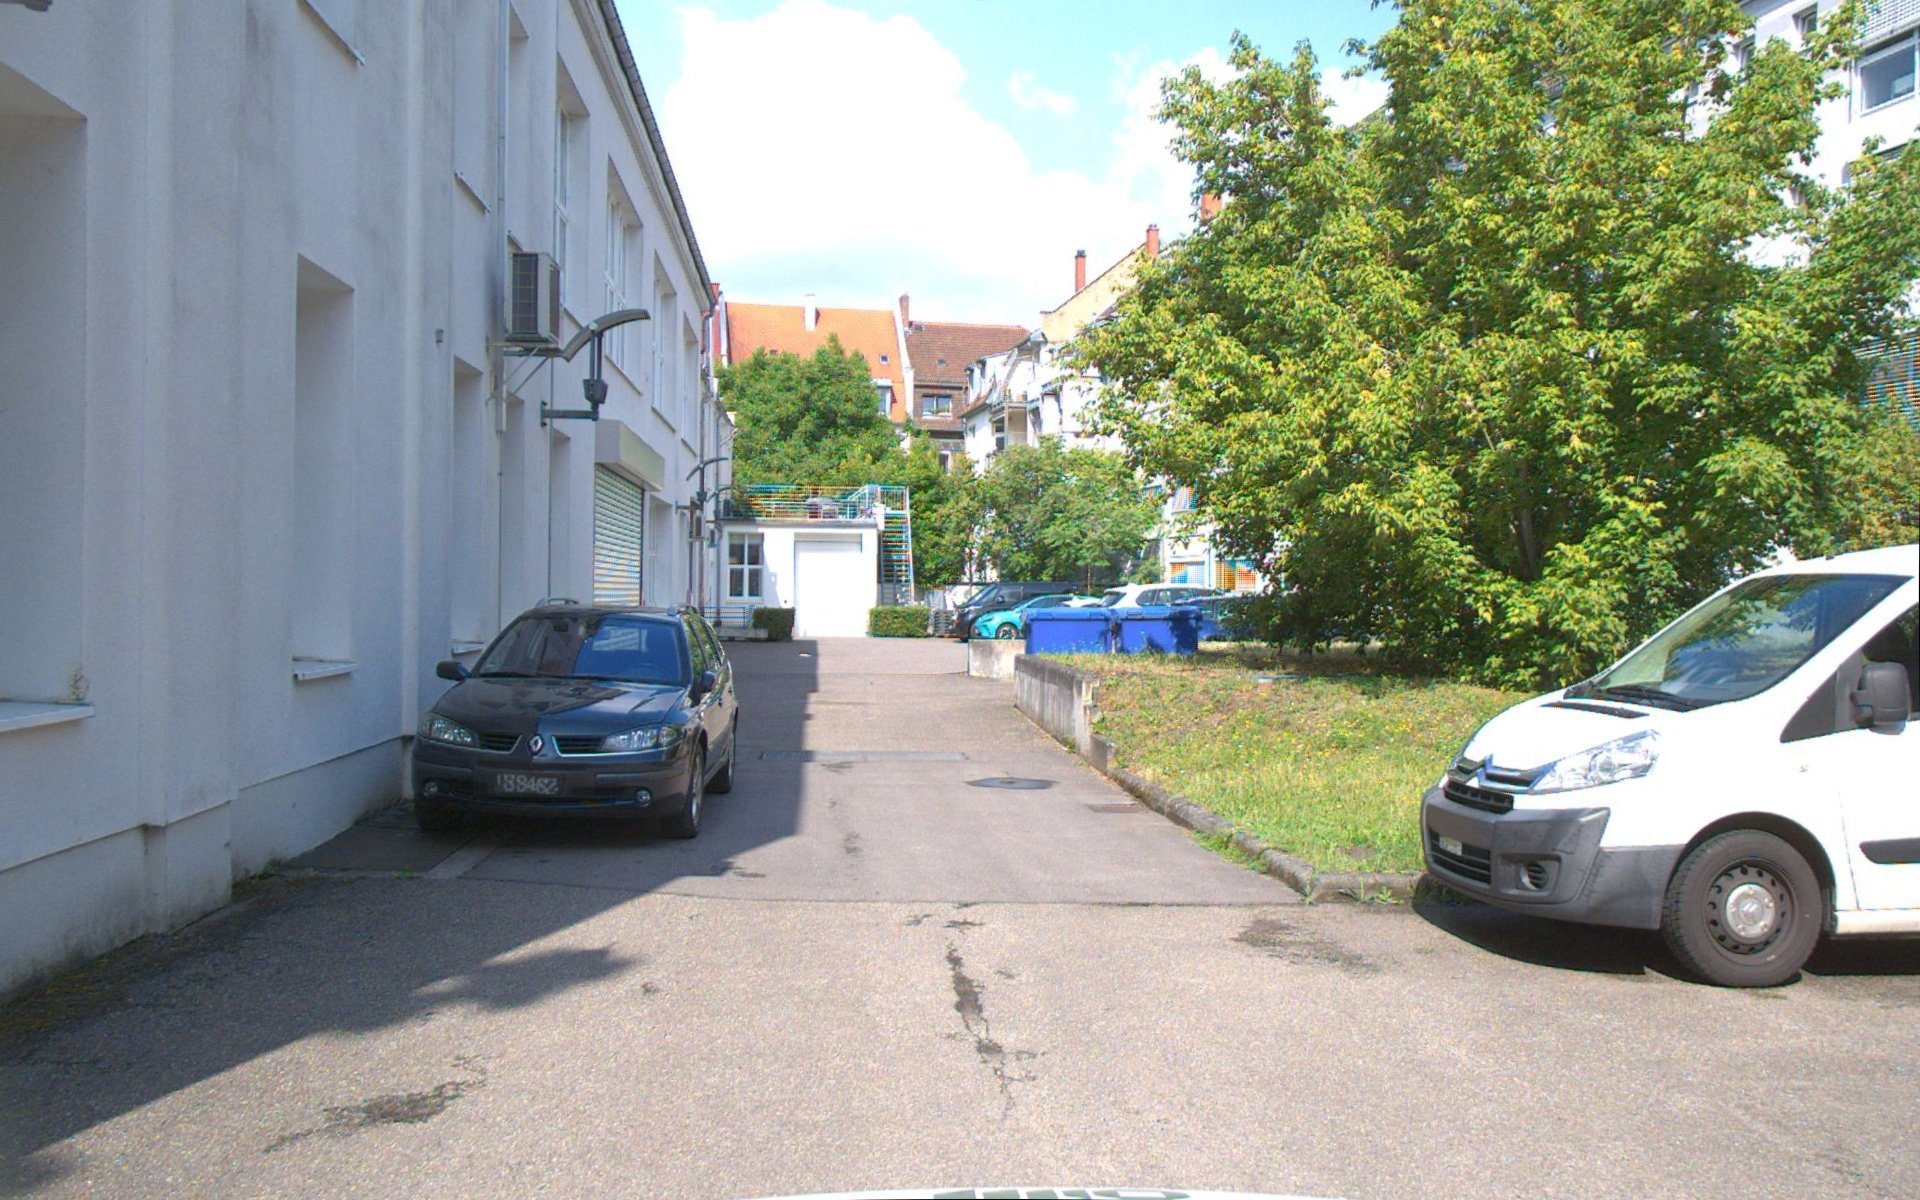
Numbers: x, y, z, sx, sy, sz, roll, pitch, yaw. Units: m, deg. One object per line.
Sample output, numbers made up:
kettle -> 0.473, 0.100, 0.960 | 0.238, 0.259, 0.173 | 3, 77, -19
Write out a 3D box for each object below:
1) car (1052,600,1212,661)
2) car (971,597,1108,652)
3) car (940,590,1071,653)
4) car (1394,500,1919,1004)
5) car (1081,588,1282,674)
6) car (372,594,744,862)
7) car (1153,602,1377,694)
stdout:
car -> 4.529, 0.794, 43.734 | 3.915, 1.470, 1.625 | -1, 2, -11
car -> 2.418, 0.730, 50.685 | 3.915, 1.601, 1.625 | 0, 2, -11
car -> 1.444, 0.695, 53.366 | 3.915, 1.849, 1.659 | 2, 0, -11
car -> 4.734, 0.653, 7.754 | 4.841, 1.999, 1.998 | 0, -2, -4
car -> 4.763, 0.644, 35.819 | 3.915, 1.776, 1.944 | 0, 1, -11
car -> -2.545, 0.803, 11.516 | 1.843, 1.467, 4.335 | 2, -2, -5
car -> 6.094, 0.955, 33.225 | 4.039, 1.634, 1.750 | 2, 0, -11
